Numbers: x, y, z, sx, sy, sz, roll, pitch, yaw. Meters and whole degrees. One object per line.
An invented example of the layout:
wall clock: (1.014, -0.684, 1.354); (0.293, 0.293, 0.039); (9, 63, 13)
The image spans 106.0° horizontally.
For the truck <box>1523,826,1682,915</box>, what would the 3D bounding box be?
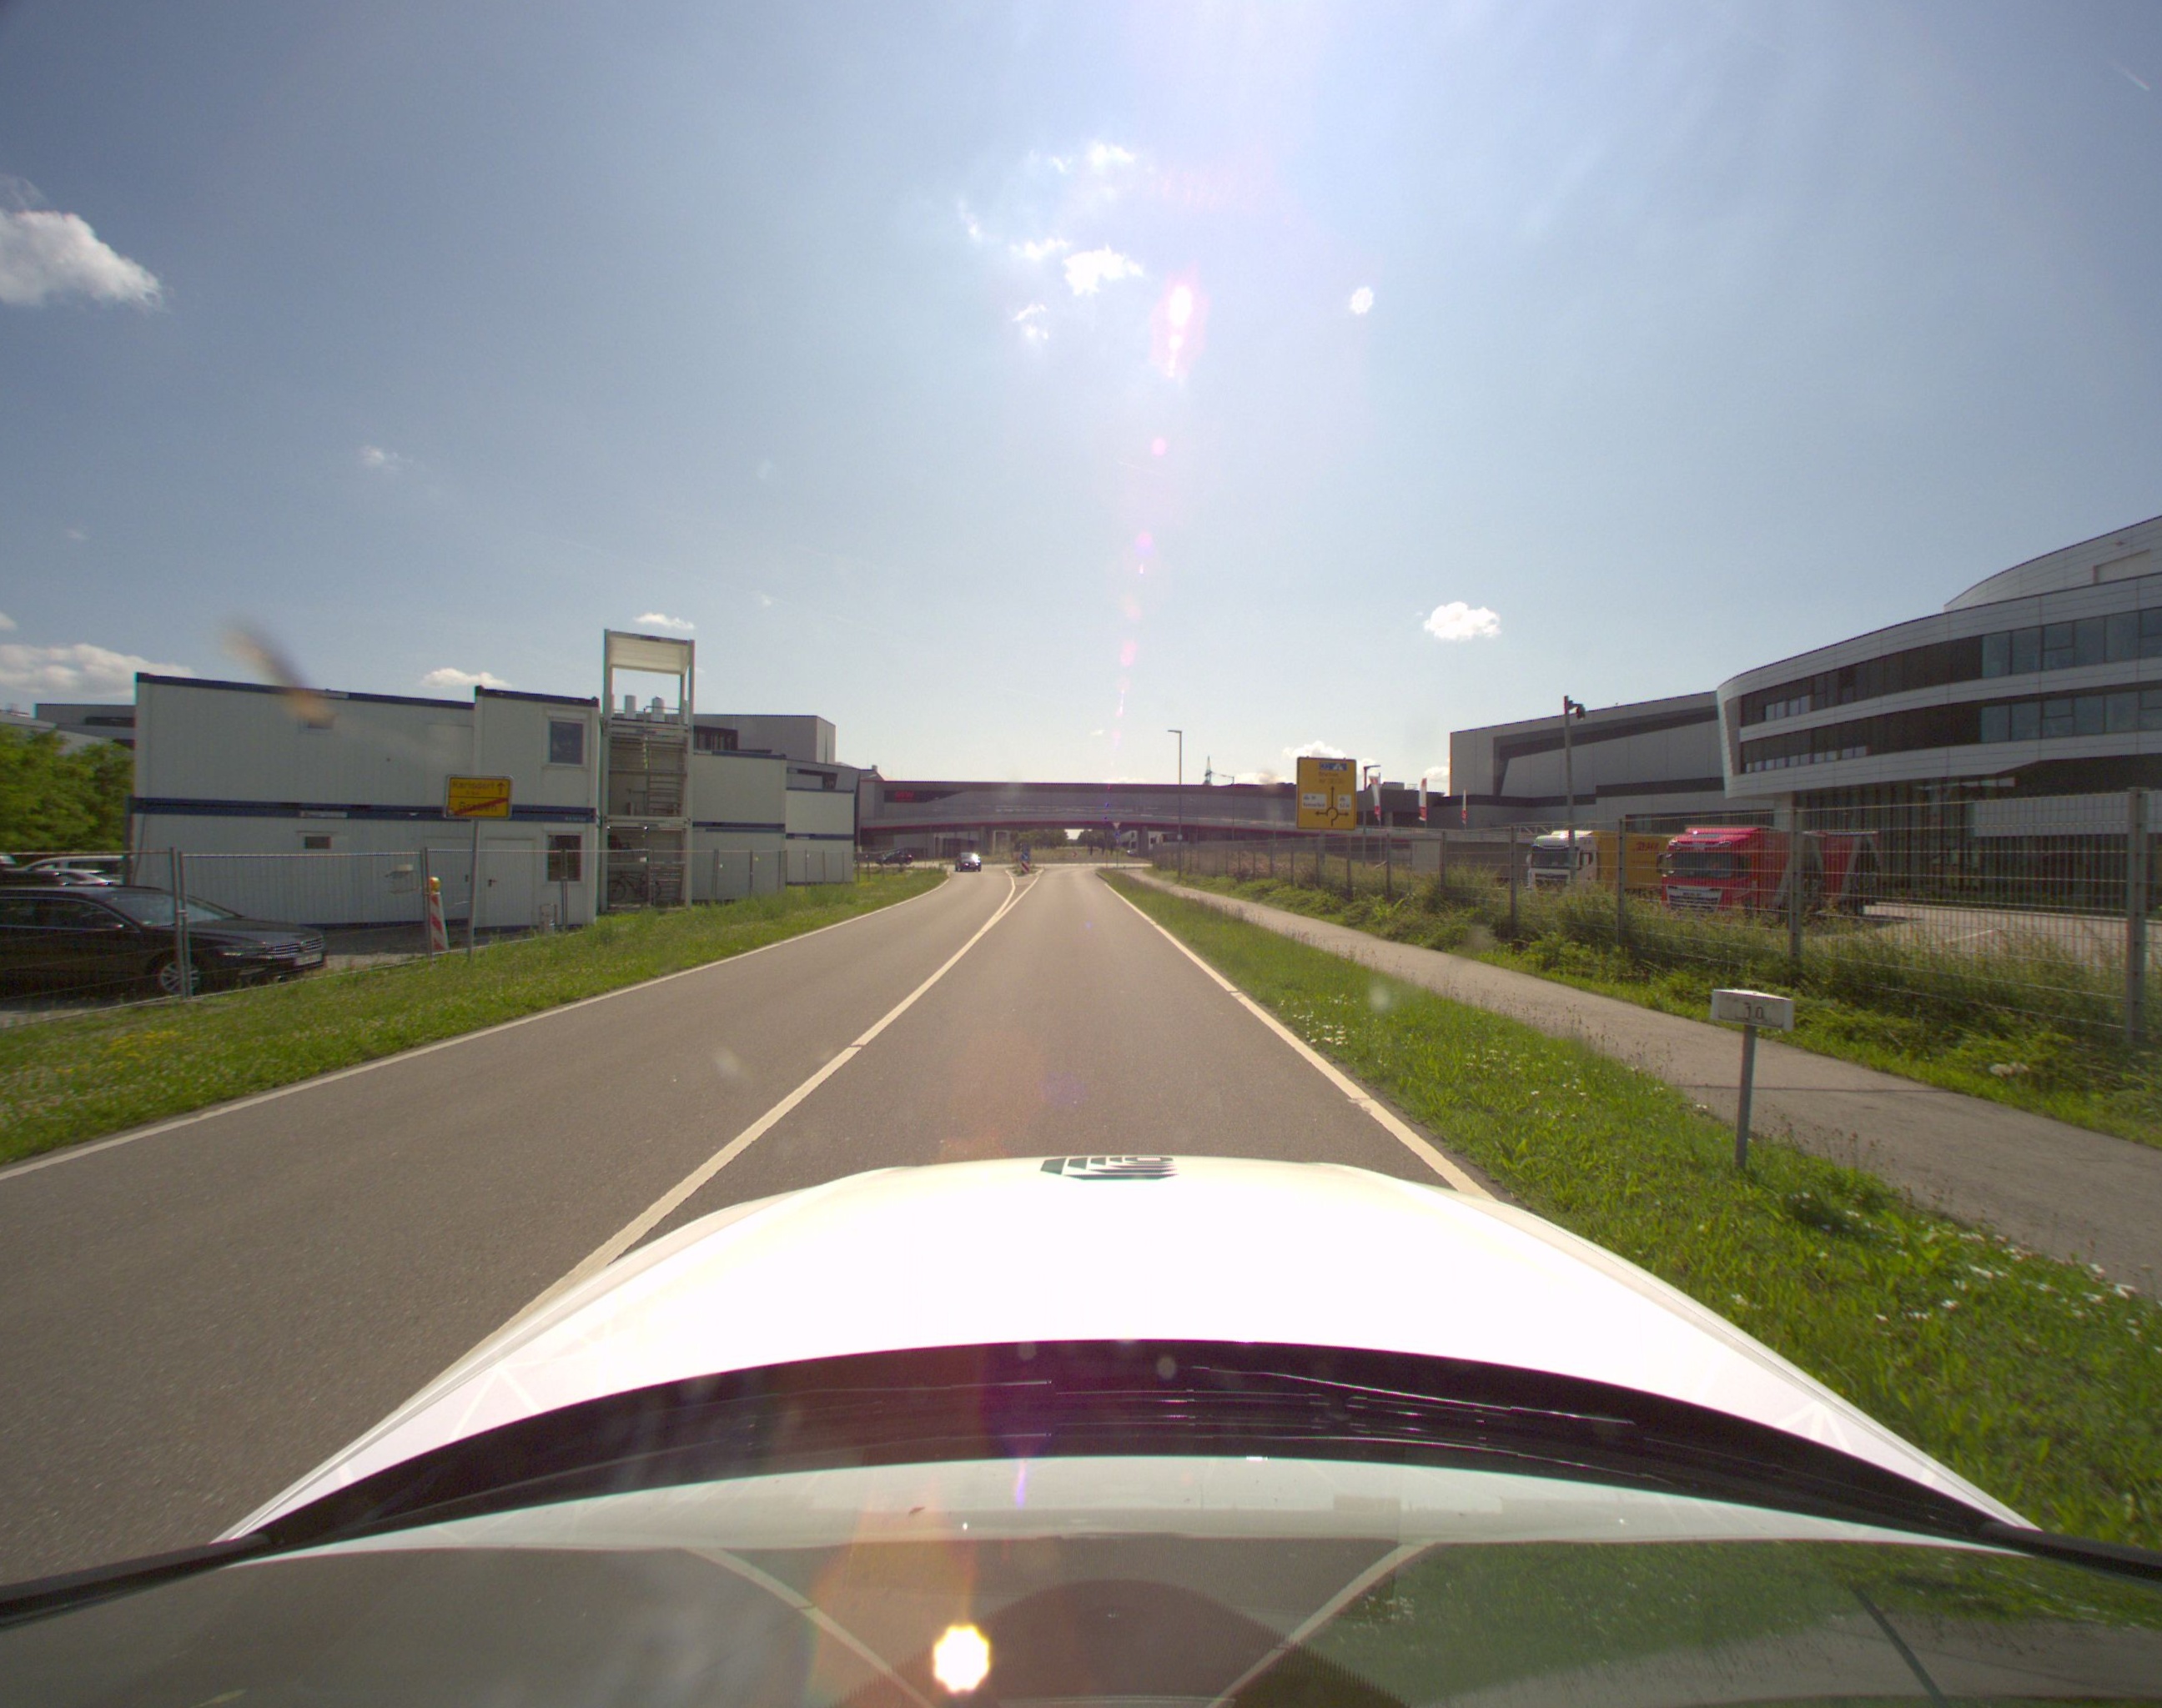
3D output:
truck: (27.560, 0.767, 42.781); (11.016, 4.172, 2.793); (0, -1, -34)

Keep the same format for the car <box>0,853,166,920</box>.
car: (-31.994, 0.966, 25.280); (4.327, 1.948, 1.981); (1, 0, -31)

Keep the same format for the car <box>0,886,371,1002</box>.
car: (-13.851, 1.230, 11.821); (4.970, 1.417, 1.993); (0, 0, -11)

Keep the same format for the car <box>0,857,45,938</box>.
car: (-27.295, 0.996, 18.402); (4.327, 1.866, 1.981); (1, 0, -31)

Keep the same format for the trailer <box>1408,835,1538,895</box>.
trailer: (31.568, 0.796, 65.144); (14.121, 4.438, 2.736); (0, -1, -35)

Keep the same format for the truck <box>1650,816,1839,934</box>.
truck: (27.616, 0.735, 33.625); (11.018, 4.256, 2.996); (0, -1, -34)

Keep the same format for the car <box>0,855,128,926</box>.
car: (-30.830, 1.017, 23.189); (4.327, 1.948, 1.981); (1, 0, -31)

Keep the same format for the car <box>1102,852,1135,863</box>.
car: (4.817, 0.446, 105.613); (2.012, 1.387, 3.950); (0, -1, -45)

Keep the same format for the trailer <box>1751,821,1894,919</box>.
trailer: (35.763, 0.692, 39.162); (8.749, 4.296, 2.997); (0, -1, -34)

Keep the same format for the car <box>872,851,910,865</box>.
car: (-21.549, 0.430, 92.479); (1.975, 1.584, 4.024); (-1, -1, 29)

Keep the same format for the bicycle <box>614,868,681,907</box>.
bicycle: (-15.206, 1.152, 28.596); (2.053, 1.301, 0.602); (0, -1, -31)

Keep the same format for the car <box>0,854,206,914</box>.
car: (-33.256, 0.981, 27.846); (4.337, 1.866, 1.976); (1, 0, -41)

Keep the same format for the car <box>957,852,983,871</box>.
car: (-9.113, 0.628, 66.481); (1.705, 1.482, 3.981); (-1, -1, -13)
